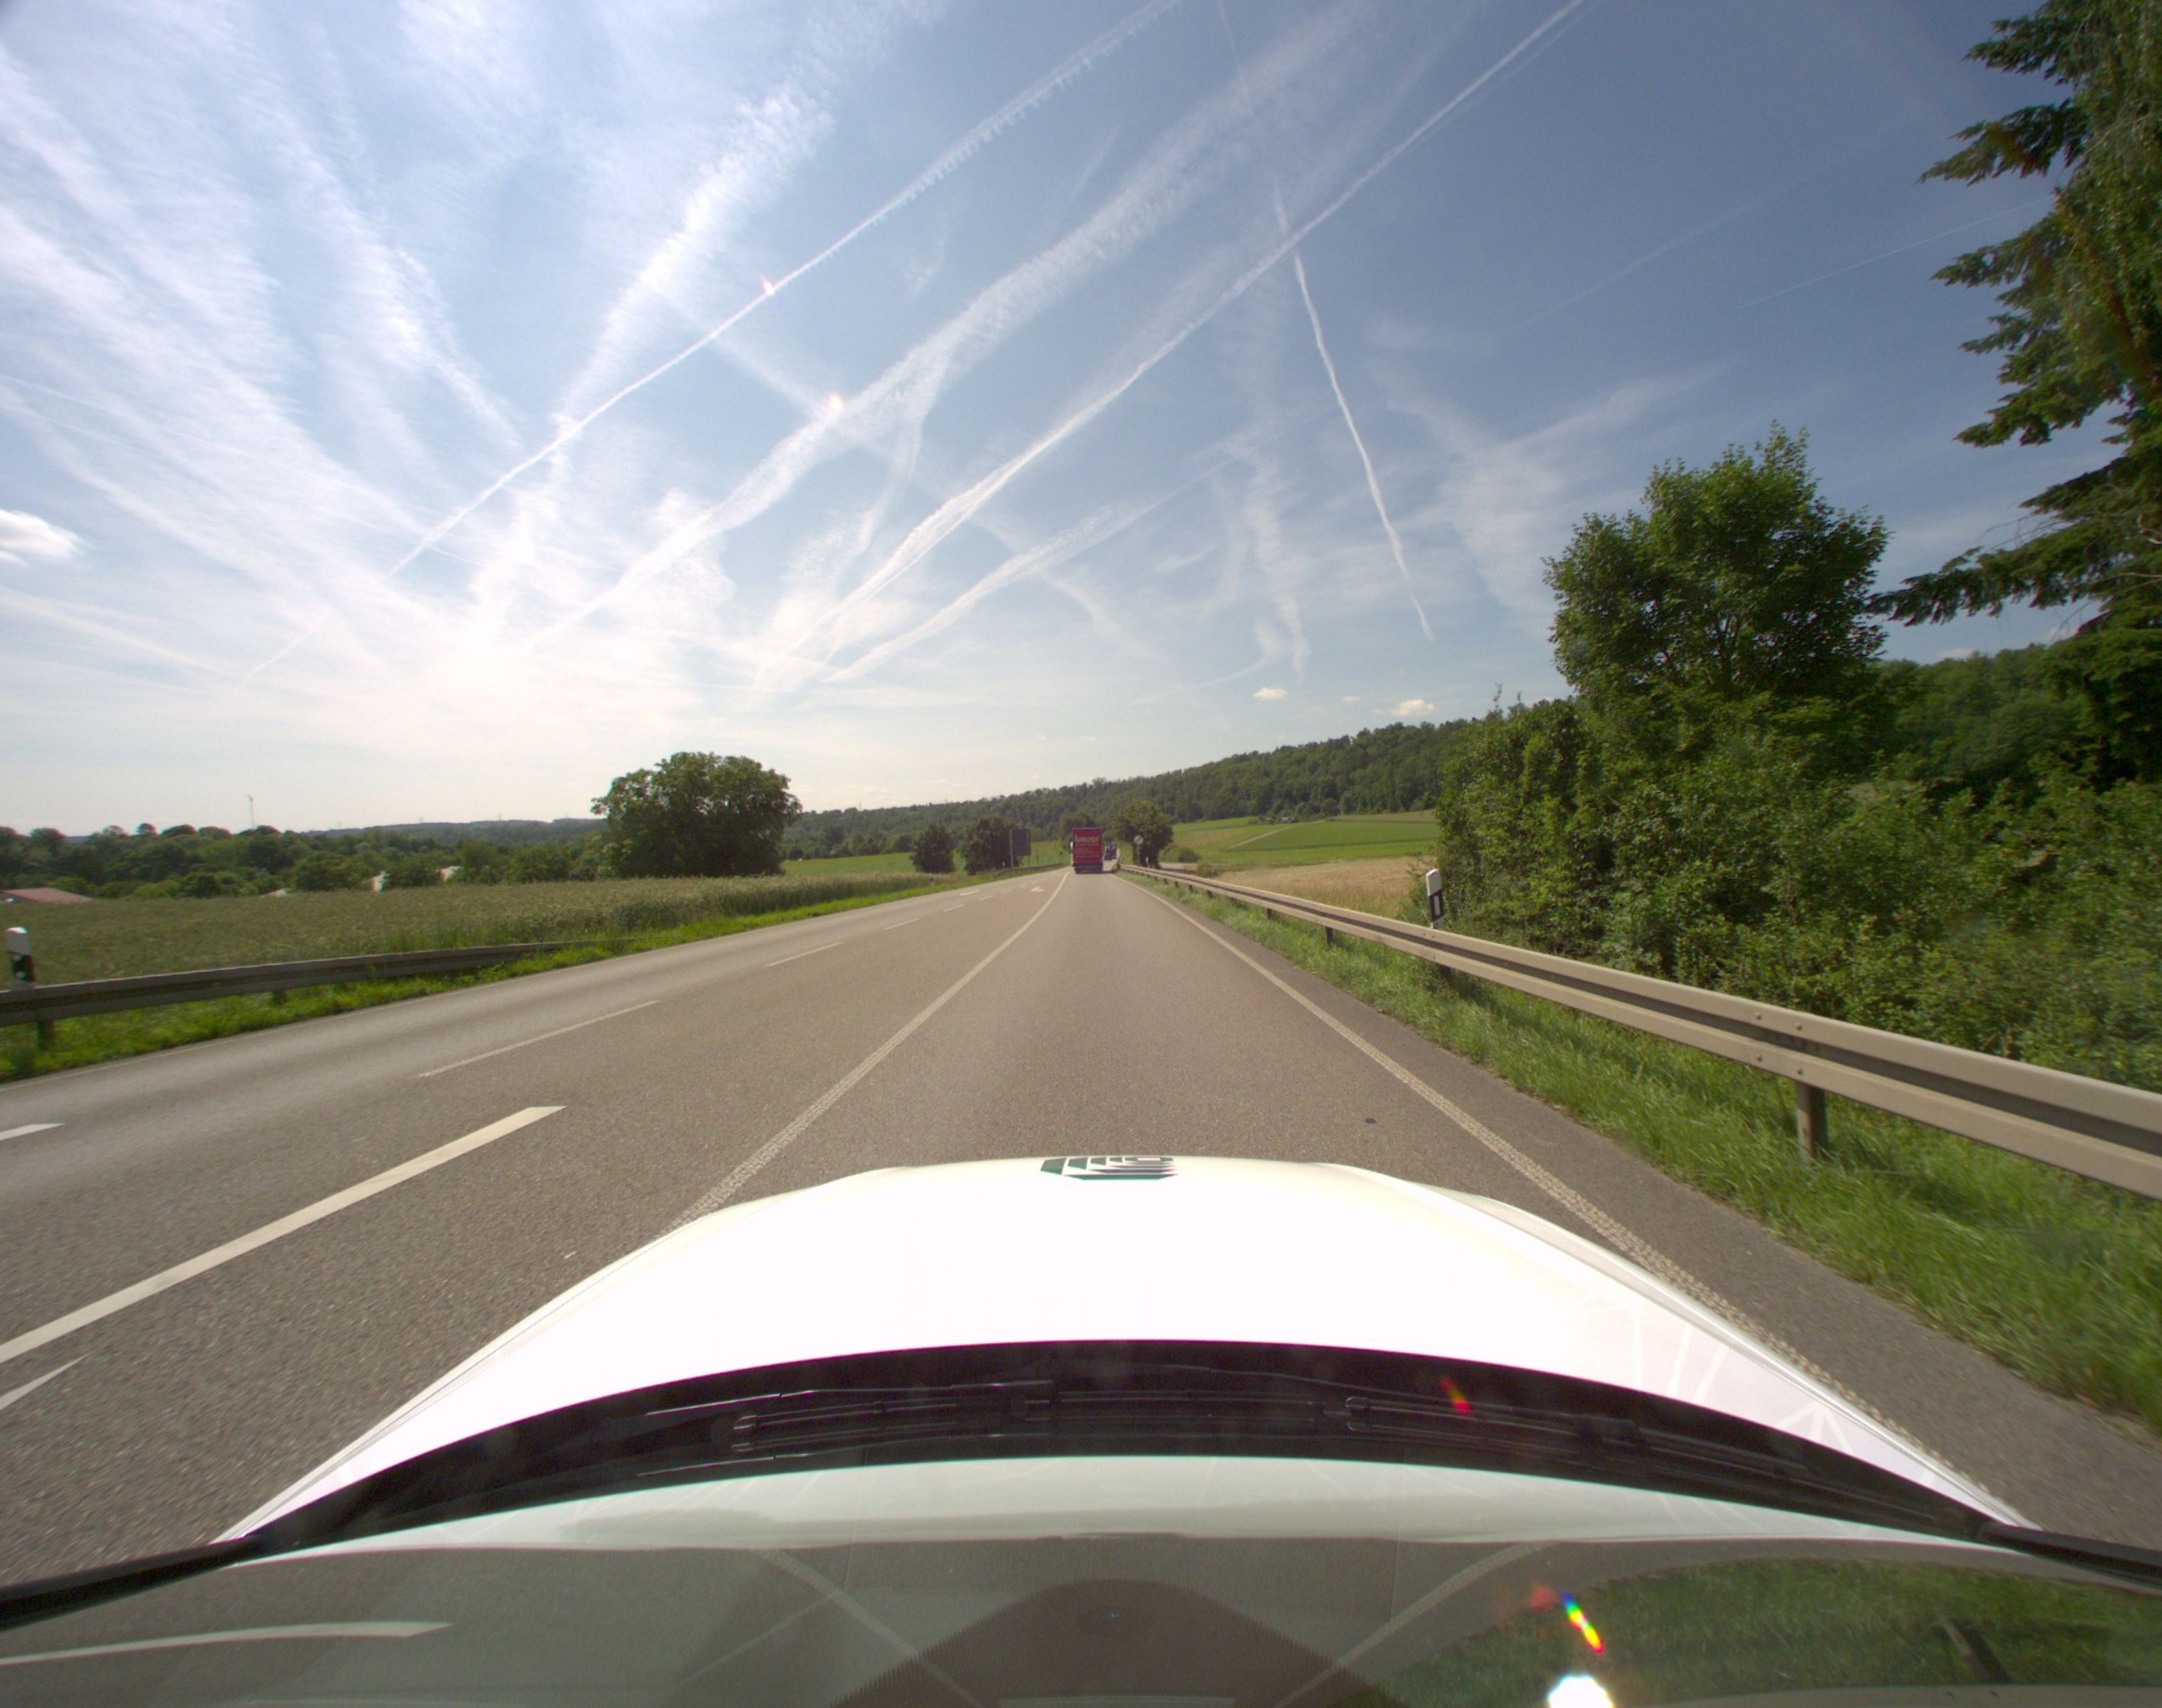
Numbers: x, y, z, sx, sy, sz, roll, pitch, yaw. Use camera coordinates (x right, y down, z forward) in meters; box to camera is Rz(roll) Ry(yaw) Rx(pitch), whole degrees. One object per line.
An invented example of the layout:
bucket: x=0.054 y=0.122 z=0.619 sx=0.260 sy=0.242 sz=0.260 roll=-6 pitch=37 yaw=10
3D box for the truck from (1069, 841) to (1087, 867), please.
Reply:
truck: x=-0.519 y=0.044 z=135.966 sx=2.520 sy=4.119 sz=6.025 roll=-3 pitch=-1 yaw=3

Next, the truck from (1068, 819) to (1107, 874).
truck: x=0.608 y=-0.669 z=76.379 sx=3.162 sy=4.625 sz=13.543 roll=-2 pitch=0 yaw=0

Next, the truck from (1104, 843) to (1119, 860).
truck: x=8.089 y=-0.590 z=217.299 sx=3.890 sy=4.369 sz=13.298 roll=0 pitch=0 yaw=2

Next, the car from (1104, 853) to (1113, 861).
car: x=6.338 y=0.761 z=186.544 sx=1.986 sy=1.810 sz=4.001 roll=1 pitch=0 yaw=1
